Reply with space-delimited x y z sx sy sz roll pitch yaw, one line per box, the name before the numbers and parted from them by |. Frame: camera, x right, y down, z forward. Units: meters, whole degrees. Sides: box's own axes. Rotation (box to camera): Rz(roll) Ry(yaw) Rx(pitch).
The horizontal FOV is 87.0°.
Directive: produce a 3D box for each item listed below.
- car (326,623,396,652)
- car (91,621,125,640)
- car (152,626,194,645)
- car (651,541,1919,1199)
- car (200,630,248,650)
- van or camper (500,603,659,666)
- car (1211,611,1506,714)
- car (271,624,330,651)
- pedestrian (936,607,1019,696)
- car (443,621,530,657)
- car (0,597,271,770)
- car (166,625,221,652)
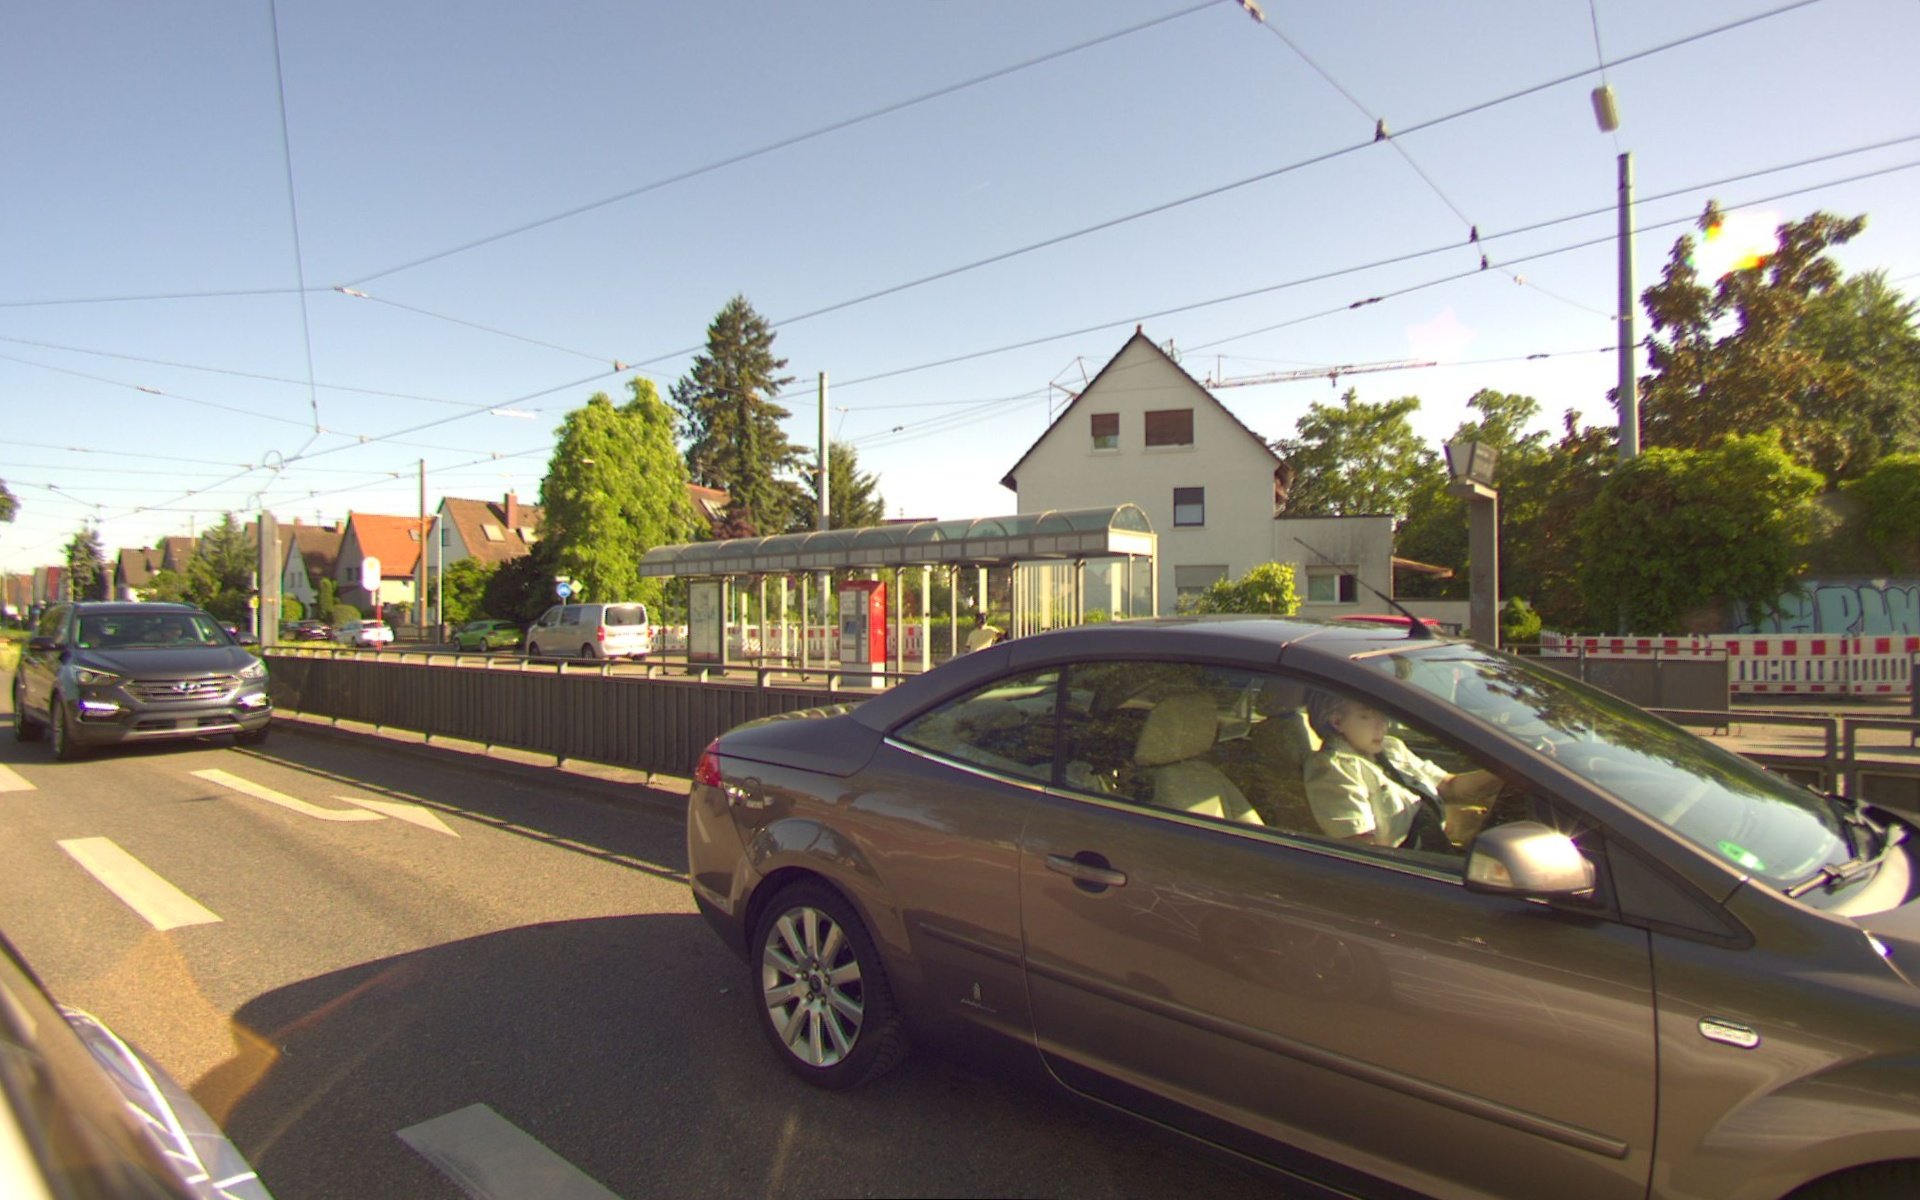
car | -33.131 2.043 55.911 4.610 1.483 1.865 -1 0 40
car | -84.647 3.009 100.544 4.582 1.877 1.973 -2 -1 41
car | -65.229 2.911 83.870 4.837 1.483 1.864 -2 0 42
car | 1.127 0.682 2.784 4.331 1.461 1.757 -2 -2 41
car | -54.204 2.944 74.530 4.308 1.382 1.972 -2 -1 42
van or camper | -12.063 1.105 31.870 5.981 1.842 1.974 -2 -2 39
car | 6.166 0.927 15.924 4.013 1.413 1.588 -2 -2 40
car | -40.492 2.271 62.091 4.438 1.477 1.887 -1 0 41
pedestrian | 0.305 0.870 17.516 1.006 1.464 1.050 -1 -2 40
car | -21.698 1.732 46.324 4.064 1.512 1.974 -1 0 38
car | -9.632 0.847 11.655 4.285 1.642 1.757 -2 -2 41
car | -46.022 2.303 60.739 4.341 1.532 1.717 -2 -2 41
